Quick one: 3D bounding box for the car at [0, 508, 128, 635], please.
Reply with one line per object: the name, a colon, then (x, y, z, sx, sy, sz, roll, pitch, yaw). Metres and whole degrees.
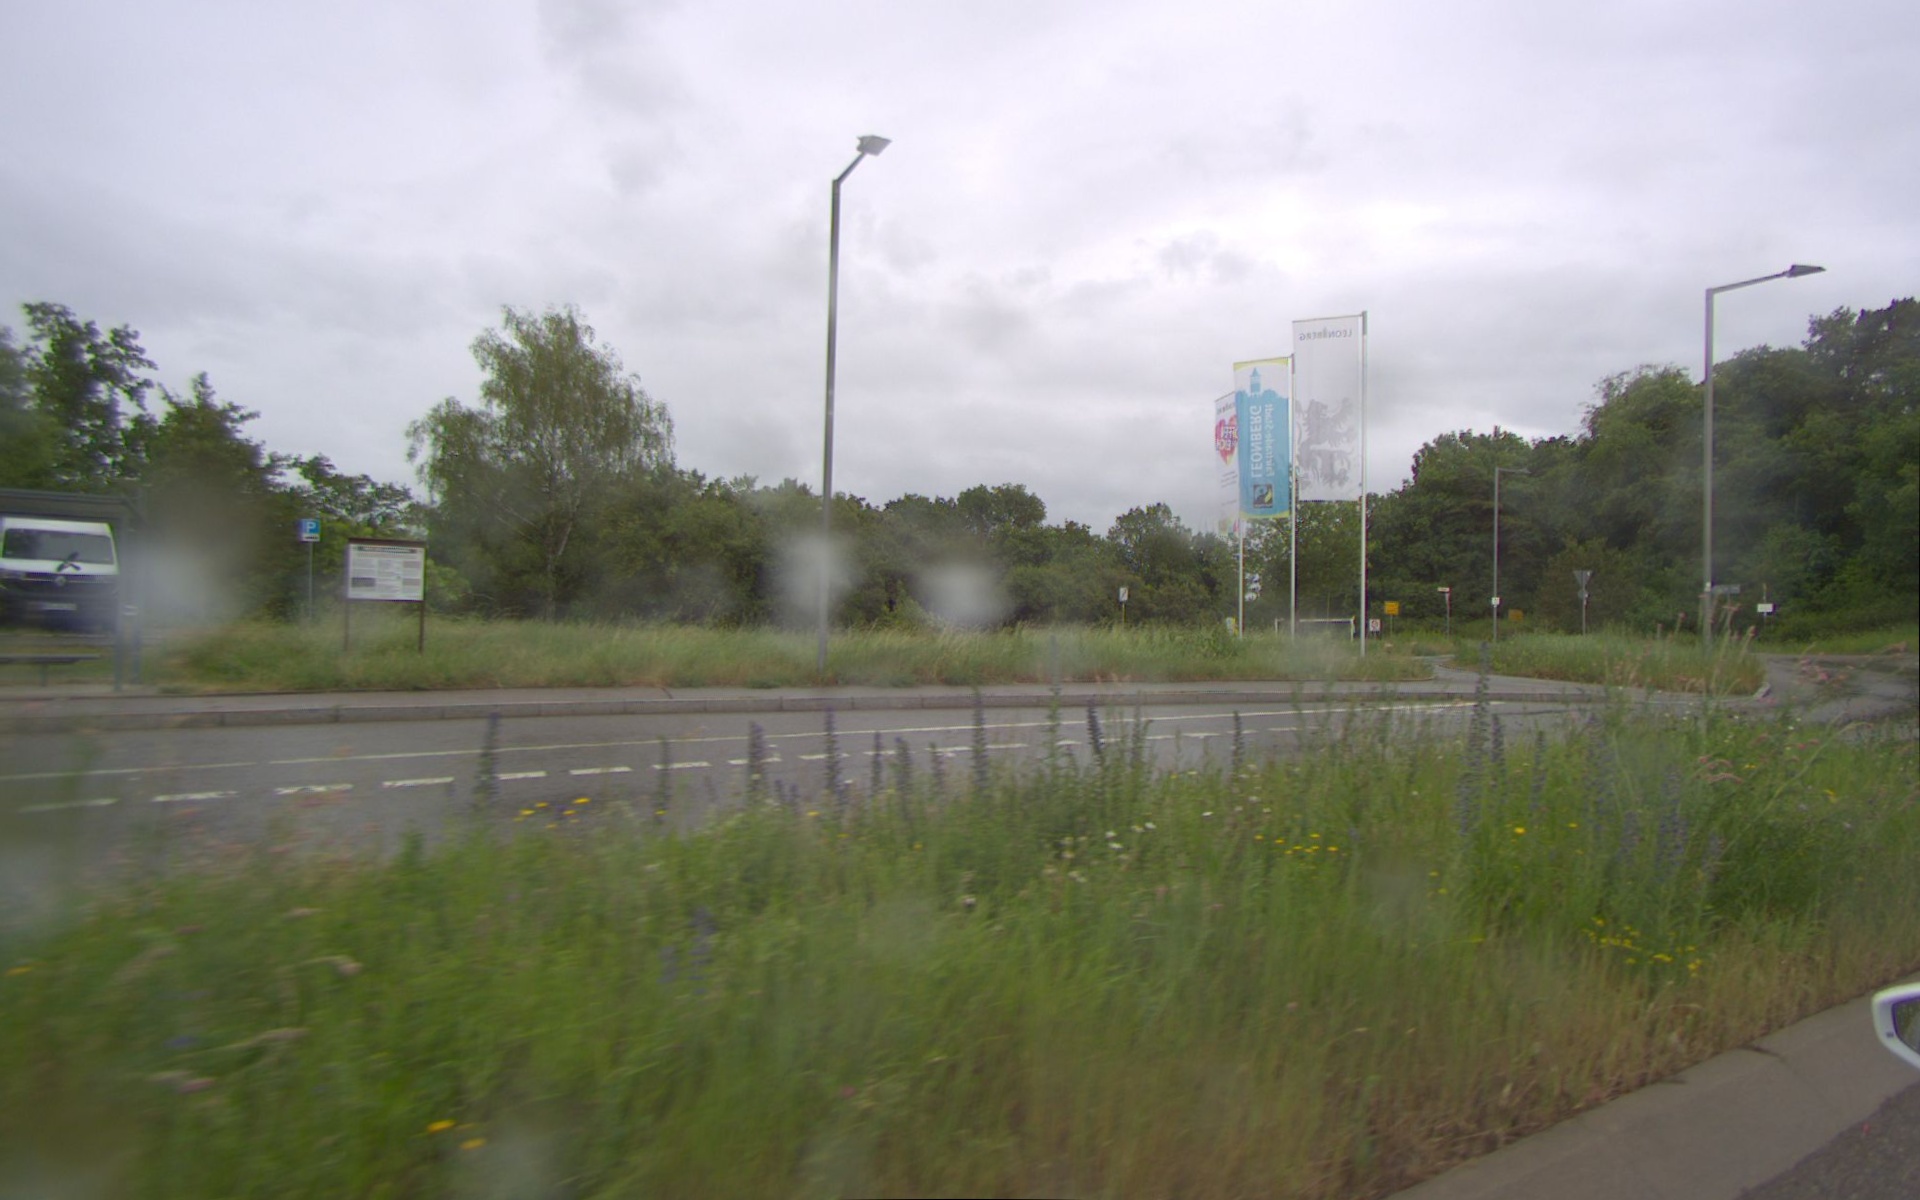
car: (-20.529, -0.605, 22.618, 2.126, 2.429, 6.489, 4, -2, -44)
